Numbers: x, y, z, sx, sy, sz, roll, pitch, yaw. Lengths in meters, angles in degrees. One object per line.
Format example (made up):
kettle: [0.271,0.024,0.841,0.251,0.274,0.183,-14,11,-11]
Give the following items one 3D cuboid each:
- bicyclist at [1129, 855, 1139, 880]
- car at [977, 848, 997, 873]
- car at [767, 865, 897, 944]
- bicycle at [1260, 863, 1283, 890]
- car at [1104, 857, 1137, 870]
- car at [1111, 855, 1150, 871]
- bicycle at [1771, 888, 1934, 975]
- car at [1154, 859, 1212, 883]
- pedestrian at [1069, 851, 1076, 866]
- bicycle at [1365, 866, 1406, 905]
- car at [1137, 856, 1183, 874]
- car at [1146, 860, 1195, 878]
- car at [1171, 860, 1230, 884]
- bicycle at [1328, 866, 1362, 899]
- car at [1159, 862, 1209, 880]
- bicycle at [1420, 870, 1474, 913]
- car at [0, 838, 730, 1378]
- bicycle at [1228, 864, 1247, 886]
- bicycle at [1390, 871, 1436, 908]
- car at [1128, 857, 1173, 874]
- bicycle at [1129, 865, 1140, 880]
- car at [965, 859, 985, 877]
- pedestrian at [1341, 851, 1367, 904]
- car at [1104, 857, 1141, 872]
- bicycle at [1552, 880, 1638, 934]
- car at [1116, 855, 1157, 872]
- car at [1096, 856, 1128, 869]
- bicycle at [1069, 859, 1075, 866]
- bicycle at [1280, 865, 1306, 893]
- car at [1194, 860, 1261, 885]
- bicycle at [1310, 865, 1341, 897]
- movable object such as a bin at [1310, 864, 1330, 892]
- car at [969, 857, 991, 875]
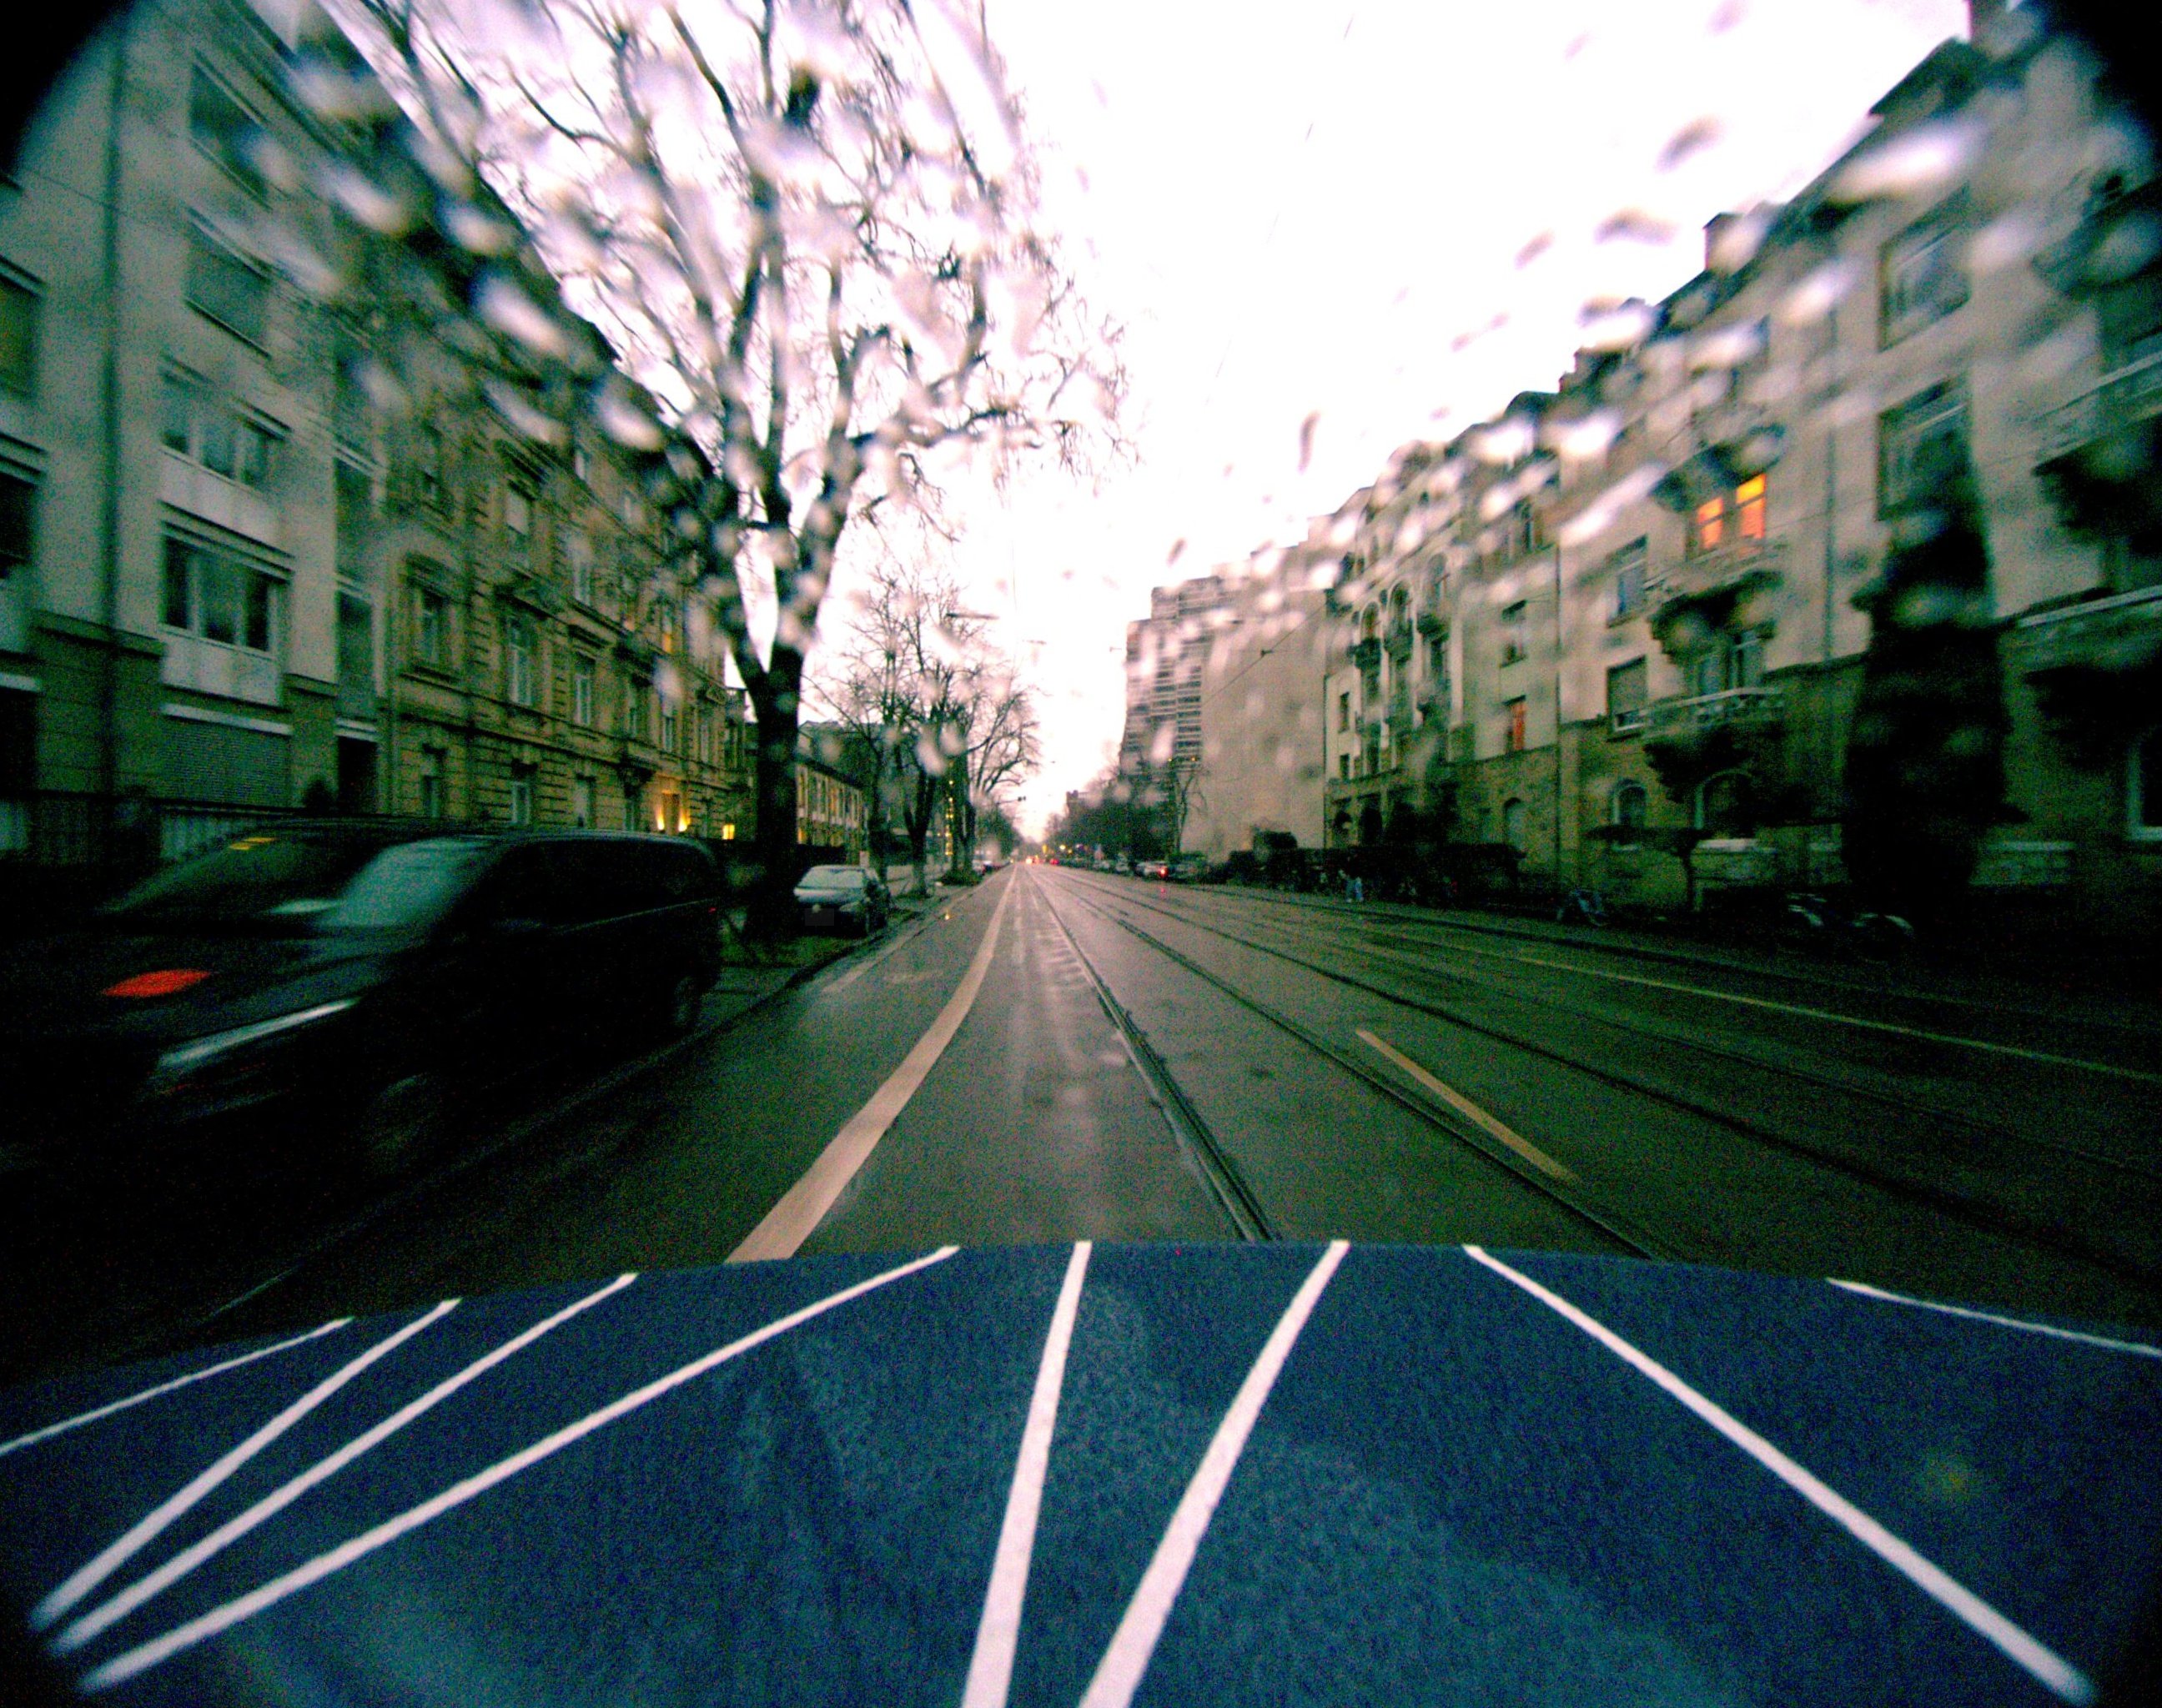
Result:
bicyclist: [4.004,0.996,57.243,0.625,1.865,0.991,0,0,-2]
car: [-10.471,0.655,84.376,2.094,2.622,5.445,-1,1,-7]
car: [-5.211,0.991,16.458,1.763,1.437,4.156,2,-1,-5]
bicycle: [9.049,1.062,36.220,0.625,1.205,1.662,0,0,-2]
car: [5.030,1.222,96.864,4.008,1.586,1.864,0,0,-41]
car: [5.258,0.941,80.469,4.008,1.586,1.864,0,0,-41]
bicycle: [11.025,1.062,10.942,0.625,1.086,1.662,0,0,-2]
car: [7.253,1.172,53.675,4.008,1.586,1.864,0,0,-41]
pedestrian: [-1.341,0.739,117.208,0.952,2.246,1.119,-1,1,1]
bicycle: [10.025,1.025,25.052,0.625,1.205,1.662,0,0,-2]
car: [7.104,0.957,68.108,4.008,1.586,1.864,0,0,-41]
car: [7.559,1.240,63.823,4.008,1.440,1.864,0,0,-41]
car: [7.969,1.169,50.478,4.008,1.477,1.760,0,0,-41]
bicycle: [9.646,1.030,27.812,0.625,1.157,1.662,0,0,-2]
car: [7.734,1.248,56.853,3.674,1.245,1.707,1,0,-42]
bicycle: [10.240,1.025,21.325,0.625,1.119,1.783,0,0,-2]
car: [-4.350,0.878,5.053,2.036,1.864,4.961,1,0,-4]
bicycle: [8.517,1.123,41.341,0.625,1.157,1.662,-1,0,-2]
bicycle: [10.127,1.069,23.239,0.625,1.059,1.726,0,0,-2]
car: [6.465,1.050,70.659,4.008,1.586,1.864,0,0,-41]
bicycle: [4.006,1.401,57.243,0.625,1.086,1.947,0,0,-2]
car: [-8.960,1.144,64.469,1.629,1.399,3.997,-1,1,-7]
pedestrian: [9.012,0.774,25.087,0.574,1.715,0.644,-2,2,0]
car: [4.651,1.167,85.749,4.008,1.586,1.864,0,0,-41]
bicycle: [10.652,1.073,15.818,0.625,0.997,1.662,0,0,-2]
car: [5.647,0.955,77.127,4.008,1.586,1.864,0,0,-41]
car: [4.050,1.091,99.008,4.008,1.586,1.864,0,0,-41]
bicycle: [-1.332,1.314,117.220,0.858,0.986,1.918,-1,1,0]
bicycle: [9.350,1.078,33.601,0.625,1.205,1.662,0,0,-2]
car: [9.295,1.139,48.244,4.007,1.485,1.864,0,0,-33]
bicycle: [9.539,1.038,29.690,0.625,1.205,1.662,0,0,-2]
movable object such as a bin: [10.128,0.999,32.214,0.659,1.157,0.674,0,0,-2]
car: [-9.897,1.164,74.523,2.000,1.672,3.997,-1,1,-7]
